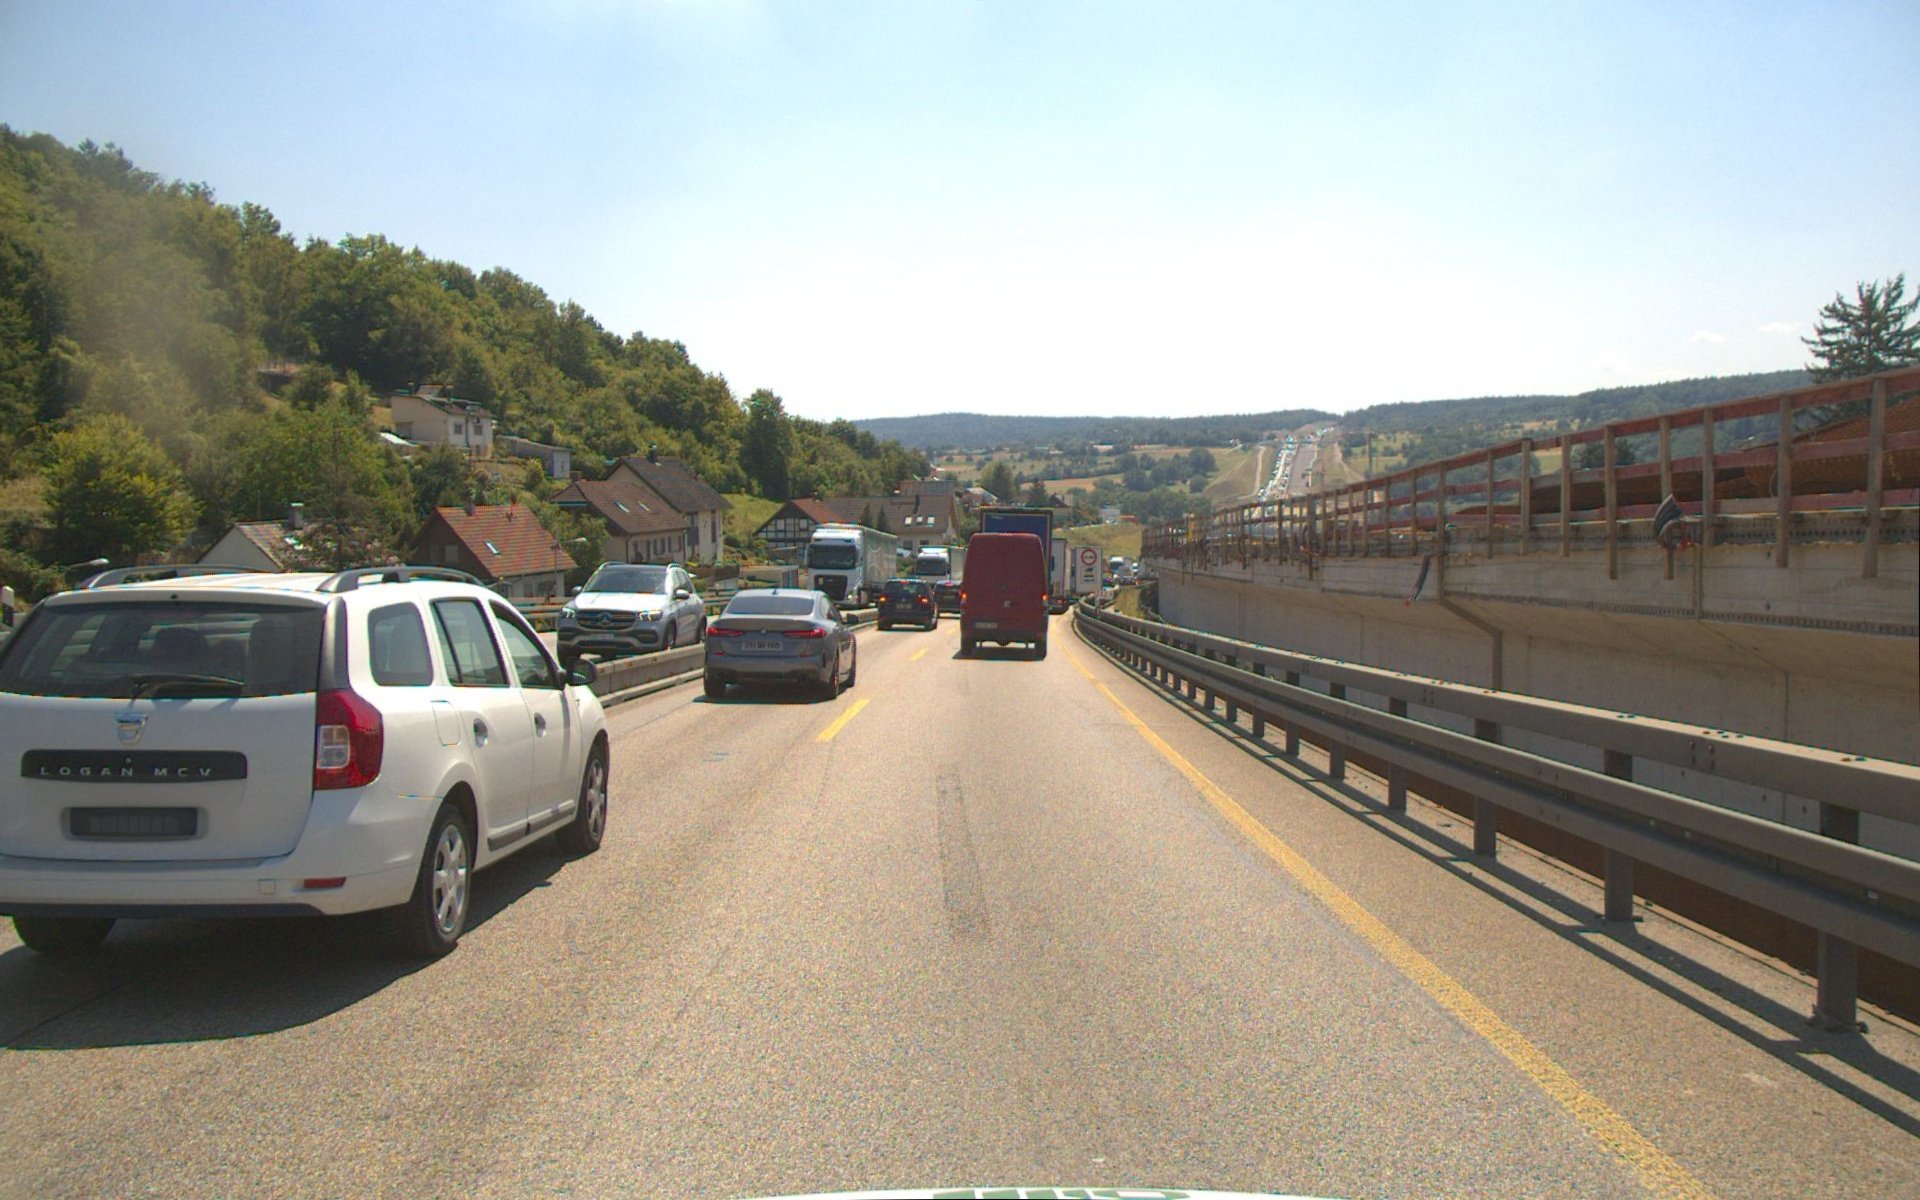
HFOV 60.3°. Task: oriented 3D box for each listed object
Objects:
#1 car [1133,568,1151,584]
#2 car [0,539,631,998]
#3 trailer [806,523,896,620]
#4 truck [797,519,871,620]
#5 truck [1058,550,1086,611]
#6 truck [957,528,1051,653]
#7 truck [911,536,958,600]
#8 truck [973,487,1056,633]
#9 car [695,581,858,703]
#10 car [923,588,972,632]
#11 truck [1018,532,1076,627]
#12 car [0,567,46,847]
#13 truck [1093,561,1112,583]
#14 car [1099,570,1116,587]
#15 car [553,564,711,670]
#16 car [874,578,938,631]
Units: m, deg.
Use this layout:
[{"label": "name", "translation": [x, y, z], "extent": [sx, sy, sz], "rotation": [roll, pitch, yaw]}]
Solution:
[{"label": "car", "translation": [24.605, -3.222, 223.481], "extent": [2.086, 2.049, 4.003], "rotation": [1, -1, 12]}, {"label": "car", "translation": [-2.777, 0.572, 7.657], "extent": [1.618, 1.509, 4.266], "rotation": [-1, 0, 0]}, {"label": "trailer", "translation": [-5.848, -1.416, 91.630], "extent": [3.000, 4.900, 14.008], "rotation": [1, 0, 4]}, {"label": "truck", "translation": [-6.337, -1.491, 83.929], "extent": [2.996, 4.906, 4.647], "rotation": [1, -1, 4]}, {"label": "truck", "translation": [8.351, -1.411, 123.029], "extent": [1.951, 4.458, 4.002], "rotation": [1, -1, 5]}, {"label": "truck", "translation": [1.059, -0.188, 37.455], "extent": [1.952, 2.624, 4.001], "rotation": [1, -1, 3]}, {"label": "truck", "translation": [-1.890, -2.378, 125.943], "extent": [2.786, 4.660, 5.791], "rotation": [1, -1, 6]}, {"label": "truck", "translation": [1.929, -1.335, 61.290], "extent": [2.729, 4.900, 9.685], "rotation": [1, 0, 1]}, {"label": "car", "translation": [-2.439, 0.519, 22.929], "extent": [1.758, 1.511, 4.050], "rotation": [1, 0, 0]}, {"label": "car", "translation": [-0.527, 0.440, 72.771], "extent": [1.693, 1.870, 4.002], "rotation": [1, 0, 6]}, {"label": "truck", "translation": [4.772, -1.046, 91.967], "extent": [2.729, 4.900, 9.685], "rotation": [1, 0, 1]}, {"label": "car", "translation": [-6.119, 0.570, 7.076], "extent": [1.872, 1.512, 4.477], "rotation": [1, 0, 0]}, {"label": "truck", "translation": [10.546, -2.076, 122.493], "extent": [1.286, 1.569, 3.153], "rotation": [1, 0, 5]}, {"label": "car", "translation": [18.907, -2.730, 211.469], "extent": [1.765, 2.049, 4.004], "rotation": [2, 1, 10]}, {"label": "car", "translation": [-5.842, 0.269, 30.031], "extent": [1.872, 1.735, 4.736], "rotation": [1, 0, 0]}, {"label": "car", "translation": [-1.739, 0.153, 54.312], "extent": [1.772, 1.636, 3.720], "rotation": [1, 0, 3]}]
